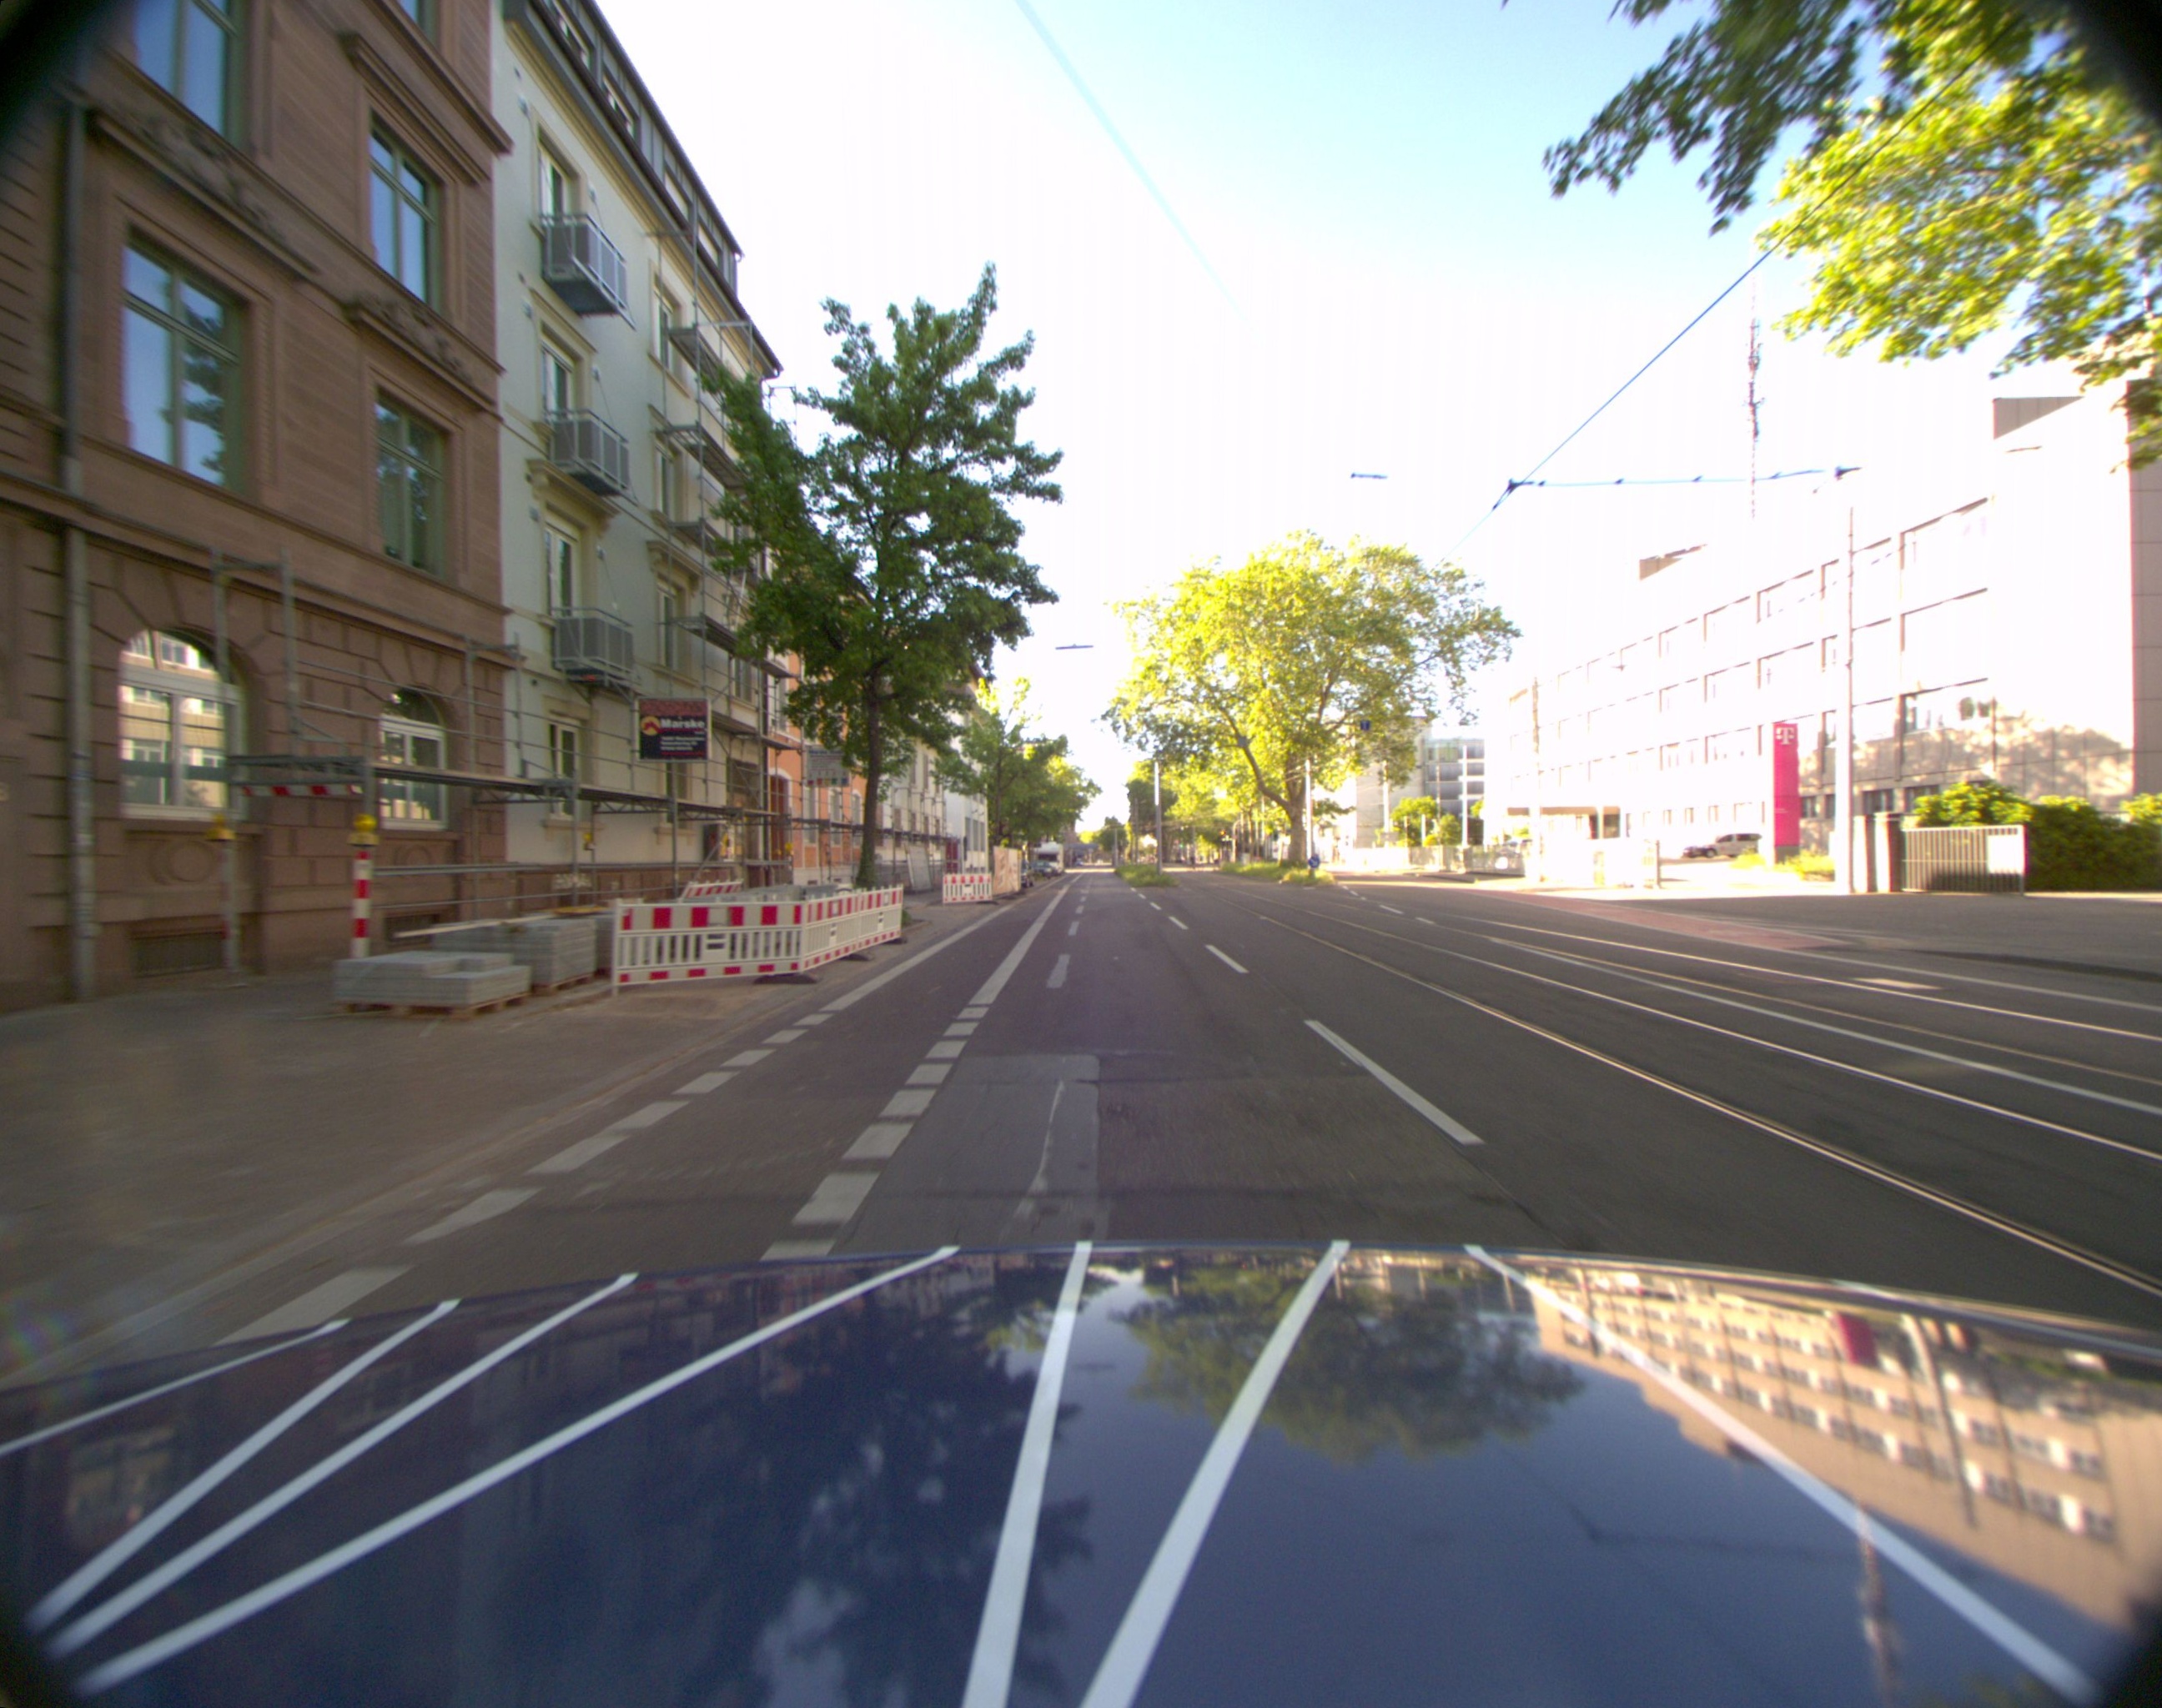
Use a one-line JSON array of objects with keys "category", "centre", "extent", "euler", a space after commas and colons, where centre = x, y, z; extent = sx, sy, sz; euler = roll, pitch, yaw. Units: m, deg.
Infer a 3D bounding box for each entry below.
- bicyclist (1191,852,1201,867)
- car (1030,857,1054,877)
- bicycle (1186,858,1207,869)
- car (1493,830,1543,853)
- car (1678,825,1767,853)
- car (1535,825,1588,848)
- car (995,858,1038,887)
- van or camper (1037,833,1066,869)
[{"category": "bicyclist", "centre": [12.206, 0.628, 80.822], "extent": [1.006, 1.567, 0.761], "euler": [-1, 1, 12]}, {"category": "car", "centre": [-2.999, 0.987, 58.574], "extent": [1.656, 1.439, 3.800], "euler": [0, 0, 0]}, {"category": "bicycle", "centre": [12.309, 0.996, 80.814], "extent": [2.080, 1.122, 0.761], "euler": [-1, 1, 12]}, {"category": "car", "centre": [35.600, -1.019, 61.971], "extent": [1.852, 1.807, 4.000], "euler": [-2, 1, 2]}, {"category": "car", "centre": [42.808, -0.966, 50.774], "extent": [4.277, 1.709, 1.853], "euler": [-2, 1, 2]}, {"category": "car", "centre": [38.542, -1.387, 61.052], "extent": [1.852, 1.742, 4.000], "euler": [-2, 1, 2]}, {"category": "car", "centre": [-3.472, 0.989, 41.699], "extent": [1.767, 1.475, 4.110], "euler": [0, 0, 4]}, {"category": "van or camper", "centre": [-2.616, -0.295, 68.992], "extent": [2.172, 3.075, 7.290], "euler": [0, 0, 2]}]
